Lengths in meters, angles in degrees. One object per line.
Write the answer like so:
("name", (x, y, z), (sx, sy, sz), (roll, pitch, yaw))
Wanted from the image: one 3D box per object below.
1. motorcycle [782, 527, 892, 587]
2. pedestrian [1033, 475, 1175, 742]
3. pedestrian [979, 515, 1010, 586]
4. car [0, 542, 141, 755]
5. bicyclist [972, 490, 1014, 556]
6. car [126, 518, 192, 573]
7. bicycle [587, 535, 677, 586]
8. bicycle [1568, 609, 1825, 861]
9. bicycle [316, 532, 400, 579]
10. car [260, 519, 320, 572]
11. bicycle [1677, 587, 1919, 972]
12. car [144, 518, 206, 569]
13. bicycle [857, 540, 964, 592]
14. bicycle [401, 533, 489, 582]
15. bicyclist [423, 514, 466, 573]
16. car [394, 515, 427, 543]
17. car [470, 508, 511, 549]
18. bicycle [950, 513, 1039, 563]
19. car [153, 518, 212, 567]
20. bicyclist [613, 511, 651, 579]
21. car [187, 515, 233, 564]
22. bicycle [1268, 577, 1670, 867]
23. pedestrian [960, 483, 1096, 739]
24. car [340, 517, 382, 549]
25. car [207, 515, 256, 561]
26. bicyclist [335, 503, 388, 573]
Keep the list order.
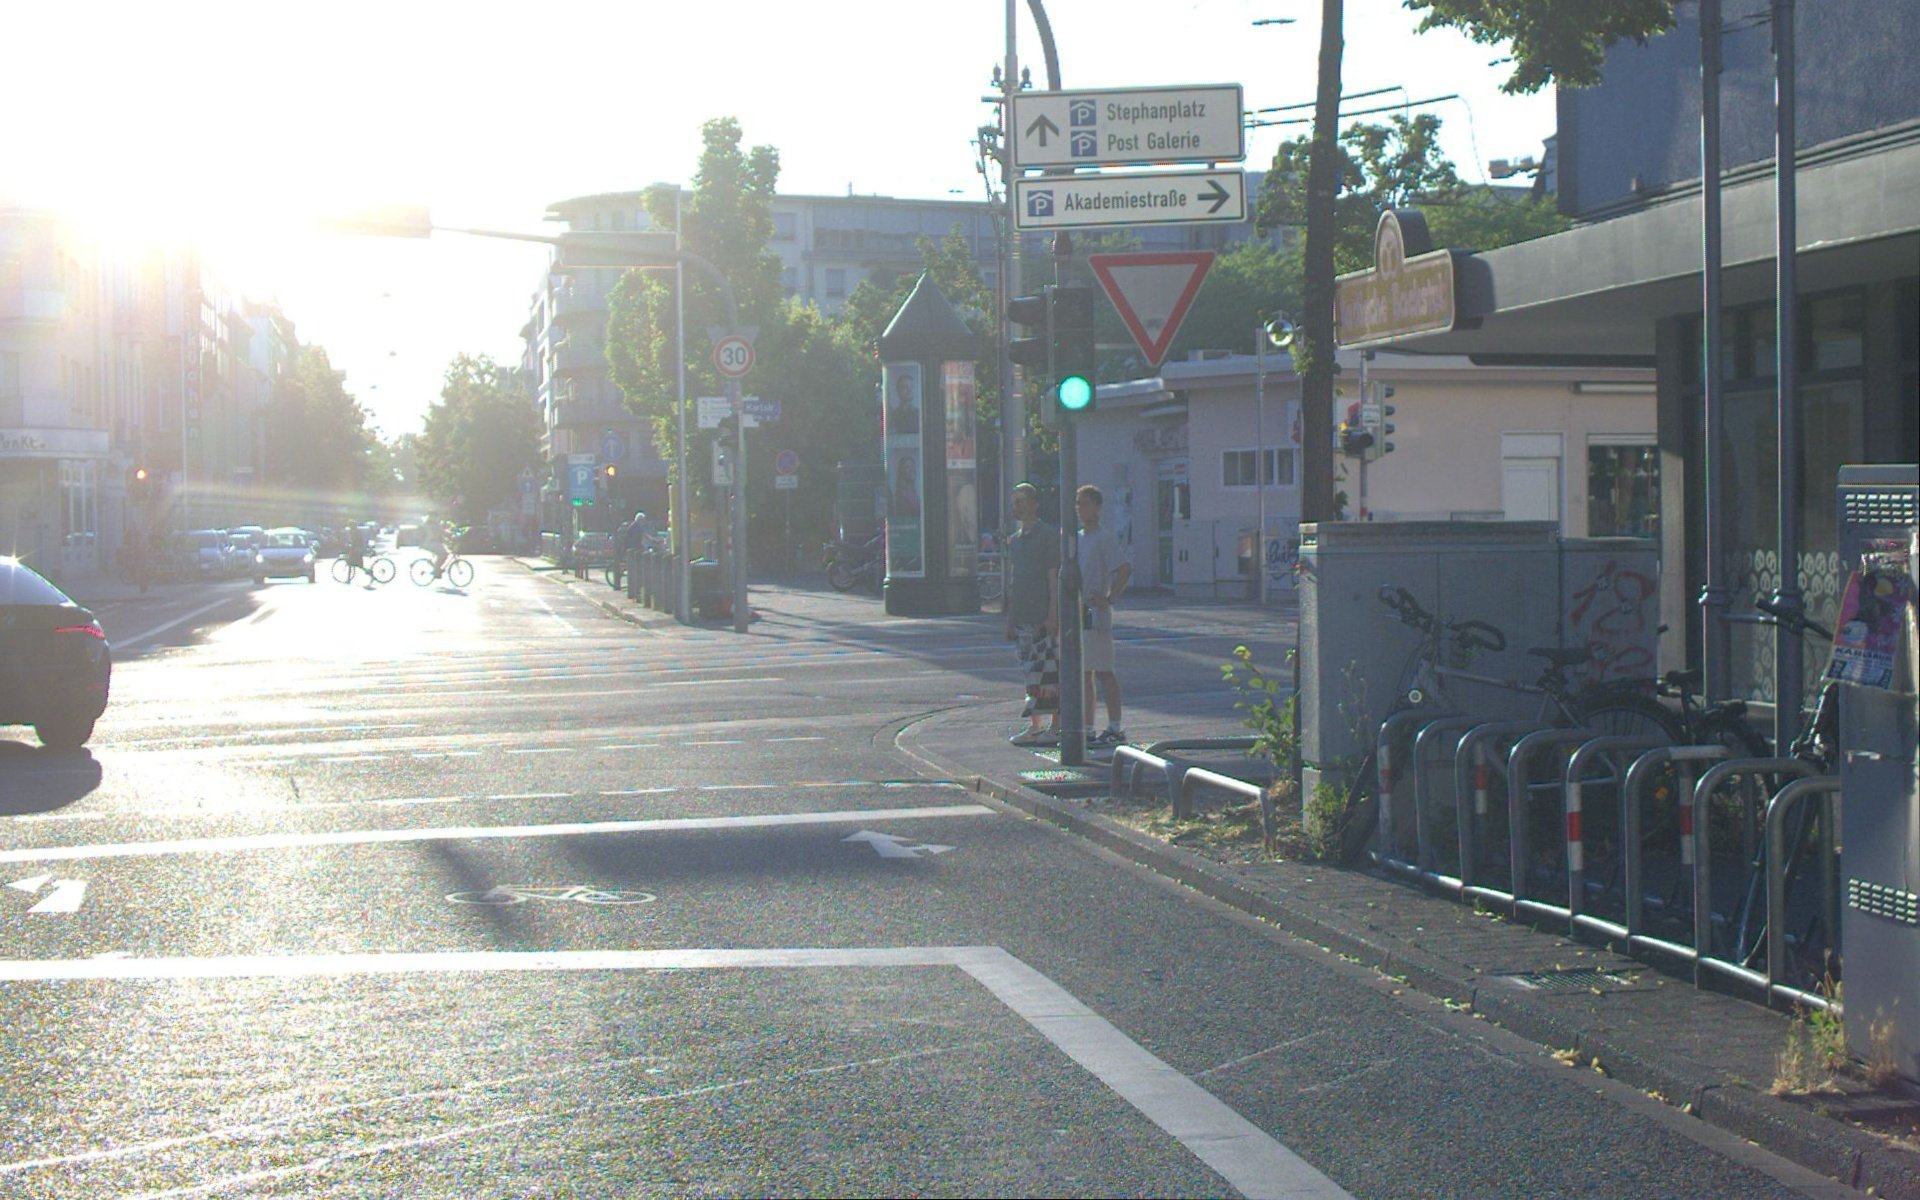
("motorcycle", (-2.534, -0.882, 70.545), (2.234, 1.197, 0.720), (-1, 2, -3))
("pedestrian", (0.973, 0.049, 23.327), (0.637, 1.767, 0.749), (-2, 2, -29))
("pedestrian", (0.813, -1.164, 81.317), (0.680, 1.651, 0.696), (1, 0, -1))
("car", (-7.937, 0.301, 25.756), (1.891, 1.475, 4.542), (0, 1, -36))
("bicyclist", (0.816, -1.894, 84.478), (0.960, 1.596, 0.646), (1, 0, 7))
("car", (-22.502, -1.545, 96.621), (1.544, 1.478, 3.353), (-1, 2, -9))
("bicycle", (-7.988, -0.965, 83.791), (2.117, 1.200, 0.500), (1, 0, 0))
("bicycle", (3.299, 0.578, 15.528), (0.403, 1.007, 1.671), (-3, 2, -14))
("bicycle", (-15.638, -1.165, 89.302), (2.119, 1.200, 0.500), (1, 0, 14))
("car", (-18.793, -1.532, 96.562), (1.544, 1.462, 3.353), (0, 1, -9))
("bicycle", (3.218, 0.558, 11.366), (1.656, 1.190, 0.494), (-1, 2, -21))
("car", (-22.876, -1.635, 100.248), (1.544, 1.464, 3.353), (0, 1, -9))
("bicycle", (-0.969, -0.670, 67.570), (2.077, 0.979, 0.560), (-1, 0, -1))
("bicycle", (-12.865, -1.067, 85.888), (2.117, 1.200, 0.500), (1, 0, 2))
("bicyclist", (-12.880, -1.409, 85.904), (0.899, 1.476, 0.735), (1, 0, 3))
("car", (-37.146, -4.771, 232.485), (1.993, 1.809, 4.001), (1, 1, -7))
("car", (-23.796, -3.615, 174.270), (1.993, 2.007, 4.001), (1, 1, -7))
("bicycle", (0.847, -1.518, 84.485), (2.118, 1.200, 0.500), (1, 0, 7))
("car", (-23.773, -1.739, 105.149), (1.544, 1.464, 3.353), (0, 1, -9))
("bicyclist", (-7.997, -1.338, 83.789), (0.850, 1.653, 0.676), (1, 0, -1))
("car", (-24.399, -1.969, 111.834), (1.306, 1.577, 2.889), (0, 1, -9))
("bicycle", (2.195, 0.508, 14.841), (1.656, 1.190, 0.477), (-1, 2, -14))
("pedestrian", (0.476, 0.066, 24.290), (0.585, 1.767, 0.749), (-2, 2, -39))
("car", (-31.890, -3.584, 183.050), (1.993, 1.678, 4.001), (-1, 1, -7))
("car", (-24.923, -2.103, 117.610), (1.482, 1.554, 3.259), (0, 1, -9))
("bicyclist", (-15.547, -1.612, 89.307), (1.130, 1.784, 0.764), (1, 0, 15))
